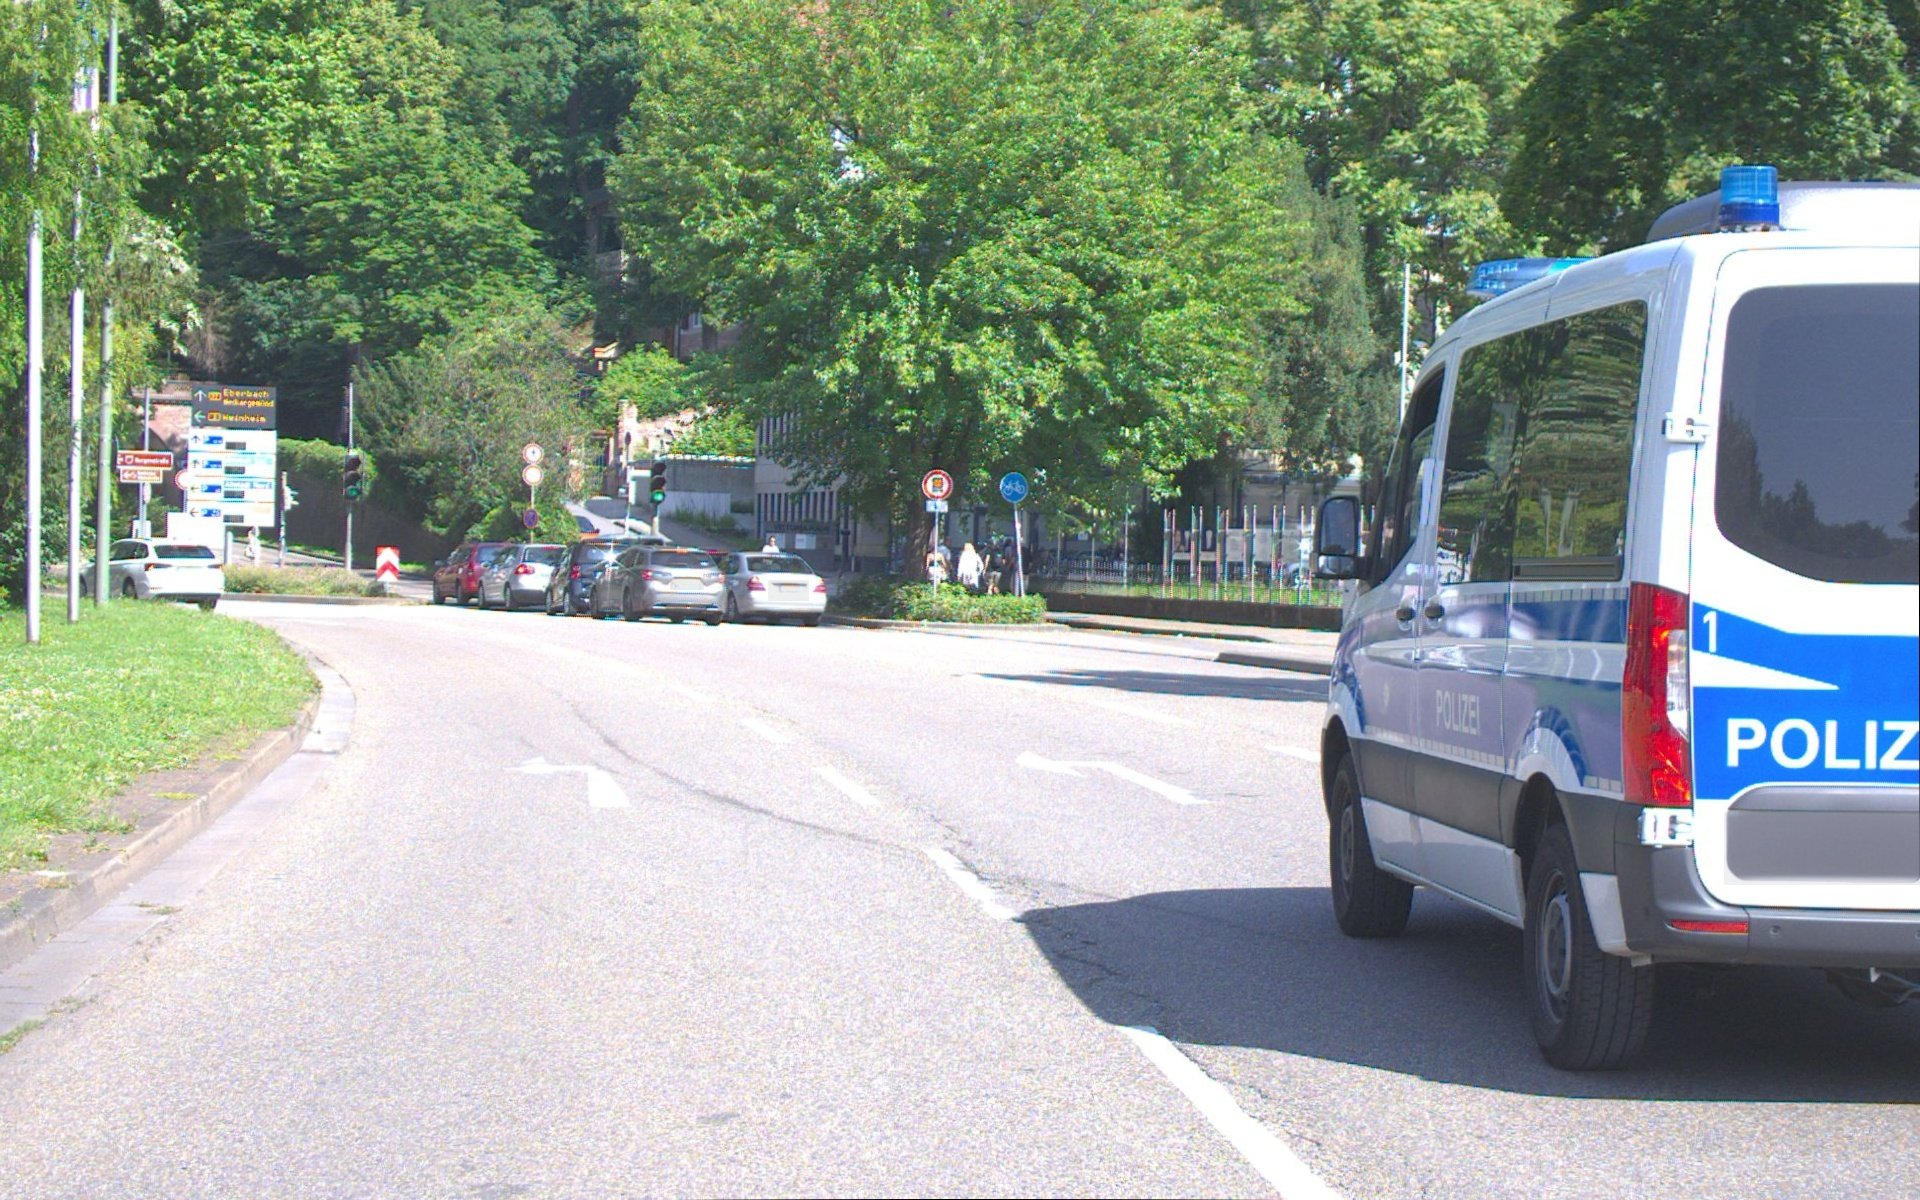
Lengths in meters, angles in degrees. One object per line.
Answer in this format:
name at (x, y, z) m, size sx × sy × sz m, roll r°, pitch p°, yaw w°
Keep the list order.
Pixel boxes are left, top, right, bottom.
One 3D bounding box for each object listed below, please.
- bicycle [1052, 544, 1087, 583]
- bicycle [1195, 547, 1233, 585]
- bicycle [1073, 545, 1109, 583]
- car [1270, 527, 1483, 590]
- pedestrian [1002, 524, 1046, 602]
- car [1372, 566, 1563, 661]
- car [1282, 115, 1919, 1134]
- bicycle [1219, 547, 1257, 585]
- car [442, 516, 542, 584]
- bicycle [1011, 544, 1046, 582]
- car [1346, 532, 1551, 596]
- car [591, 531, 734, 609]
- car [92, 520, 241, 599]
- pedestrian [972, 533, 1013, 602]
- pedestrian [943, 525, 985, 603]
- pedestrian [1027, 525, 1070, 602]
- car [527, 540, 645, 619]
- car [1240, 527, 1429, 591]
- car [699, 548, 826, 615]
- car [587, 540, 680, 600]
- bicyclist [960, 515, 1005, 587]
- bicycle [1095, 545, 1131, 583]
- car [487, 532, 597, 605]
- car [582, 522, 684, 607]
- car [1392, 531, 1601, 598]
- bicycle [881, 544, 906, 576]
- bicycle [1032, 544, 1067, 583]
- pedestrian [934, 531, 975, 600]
bicycle at (3.181, -1.064, 100.184) m, size 0.537 × 1.081 × 1.835 m, roll 1°, pitch 1°, yaw -14°
bicycle at (7.457, -1.005, 101.039) m, size 0.537 × 1.081 × 1.835 m, roll 1°, pitch 1°, yaw -14°
bicycle at (3.810, -1.054, 100.226) m, size 0.537 × 1.081 × 1.835 m, roll 1°, pitch 1°, yaw -14°
car at (9.533, -0.950, 78.685) m, size 4.465 × 1.331 × 1.822 m, roll 1°, pitch 1°, yaw -18°
pedestrian at (1.557, -0.907, 83.703) m, size 0.771 × 1.848 × 0.830 m, roll 2°, pitch 1°, yaw -17°
car at (8.481, 0.214, 57.184) m, size 1.825 × 1.456 × 4.101 m, roll 2°, pitch 1°, yaw 28°
car at (2.510, 0.059, 11.018) m, size 2.073 × 2.500 × 4.930 m, roll 2°, pitch 0°, yaw -4°
bicycle at (8.156, -0.993, 101.019) m, size 0.537 × 1.081 × 1.835 m, roll 1°, pitch 1°, yaw -14°
car at (-10.813, -1.170, 79.289) m, size 1.755 × 1.456 × 3.495 m, roll 2°, pitch 1°, yaw -16°
bicycle at (1.977, -1.079, 99.892) m, size 0.537 × 1.081 × 1.835 m, roll 1°, pitch 1°, yaw -14°
car at (10.851, -0.807, 76.410) m, size 4.083 × 1.331 × 1.822 m, roll 1°, pitch 1°, yaw -18°
car at (-5.538, -0.577, 63.620) m, size 1.755 × 1.329 × 3.803 m, roll 2°, pitch 1°, yaw -19°
car at (-15.869, -0.818, 68.649) m, size 1.842 × 1.455 × 3.494 m, roll 1°, pitch 1°, yaw -32°
pedestrian at (0.792, -0.791, 83.639) m, size 0.771 × 1.657 × 0.830 m, roll 2°, pitch 1°, yaw -14°
pedestrian at (0.104, -0.884, 82.995) m, size 0.771 × 1.848 × 0.830 m, roll 2°, pitch 1°, yaw -15°
pedestrian at (2.174, -0.890, 84.365) m, size 0.771 × 1.848 × 0.830 m, roll 2°, pitch 1°, yaw -17°
car at (-7.577, -0.428, 69.386) m, size 1.755 × 1.456 × 3.495 m, roll 2°, pitch 1°, yaw -16°
car at (9.094, -0.997, 83.534) m, size 4.141 × 1.471 × 1.878 m, roll 1°, pitch 1°, yaw -20°
car at (-3.961, -0.375, 68.415) m, size 1.755 × 1.209 × 3.495 m, roll 2°, pitch 1°, yaw -16°
car at (-8.568, -0.798, 89.983) m, size 1.755 × 1.456 × 3.495 m, roll 2°, pitch 1°, yaw -16°
bicyclist at (0.614, -1.346, 93.854) m, size 1.126 × 1.926 × 0.748 m, roll 2°, pitch 1°, yaw -3°
bicycle at (4.466, -1.045, 100.398) m, size 0.537 × 1.081 × 1.835 m, roll 1°, pitch 1°, yaw -14°
car at (-9.045, -0.699, 74.216) m, size 1.755 × 1.456 × 3.647 m, roll 2°, pitch 1°, yaw -16°
car at (-7.809, -0.864, 81.829) m, size 1.755 × 1.931 × 3.495 m, roll 2°, pitch 1°, yaw -16°
car at (11.597, -0.769, 74.388) m, size 4.039 × 1.331 × 1.861 m, roll 1°, pitch 1°, yaw -18°
bicycle at (-1.975, -1.194, 102.239) m, size 0.405 × 0.938 × 1.342 m, roll 1°, pitch 1°, yaw -15°
bicycle at (2.604, -1.071, 100.036) m, size 0.537 × 1.081 × 1.835 m, roll 1°, pitch 1°, yaw -14°
pedestrian at (-0.149, -0.856, 85.111) m, size 0.771 × 1.657 × 0.830 m, roll 2°, pitch 1°, yaw -15°
